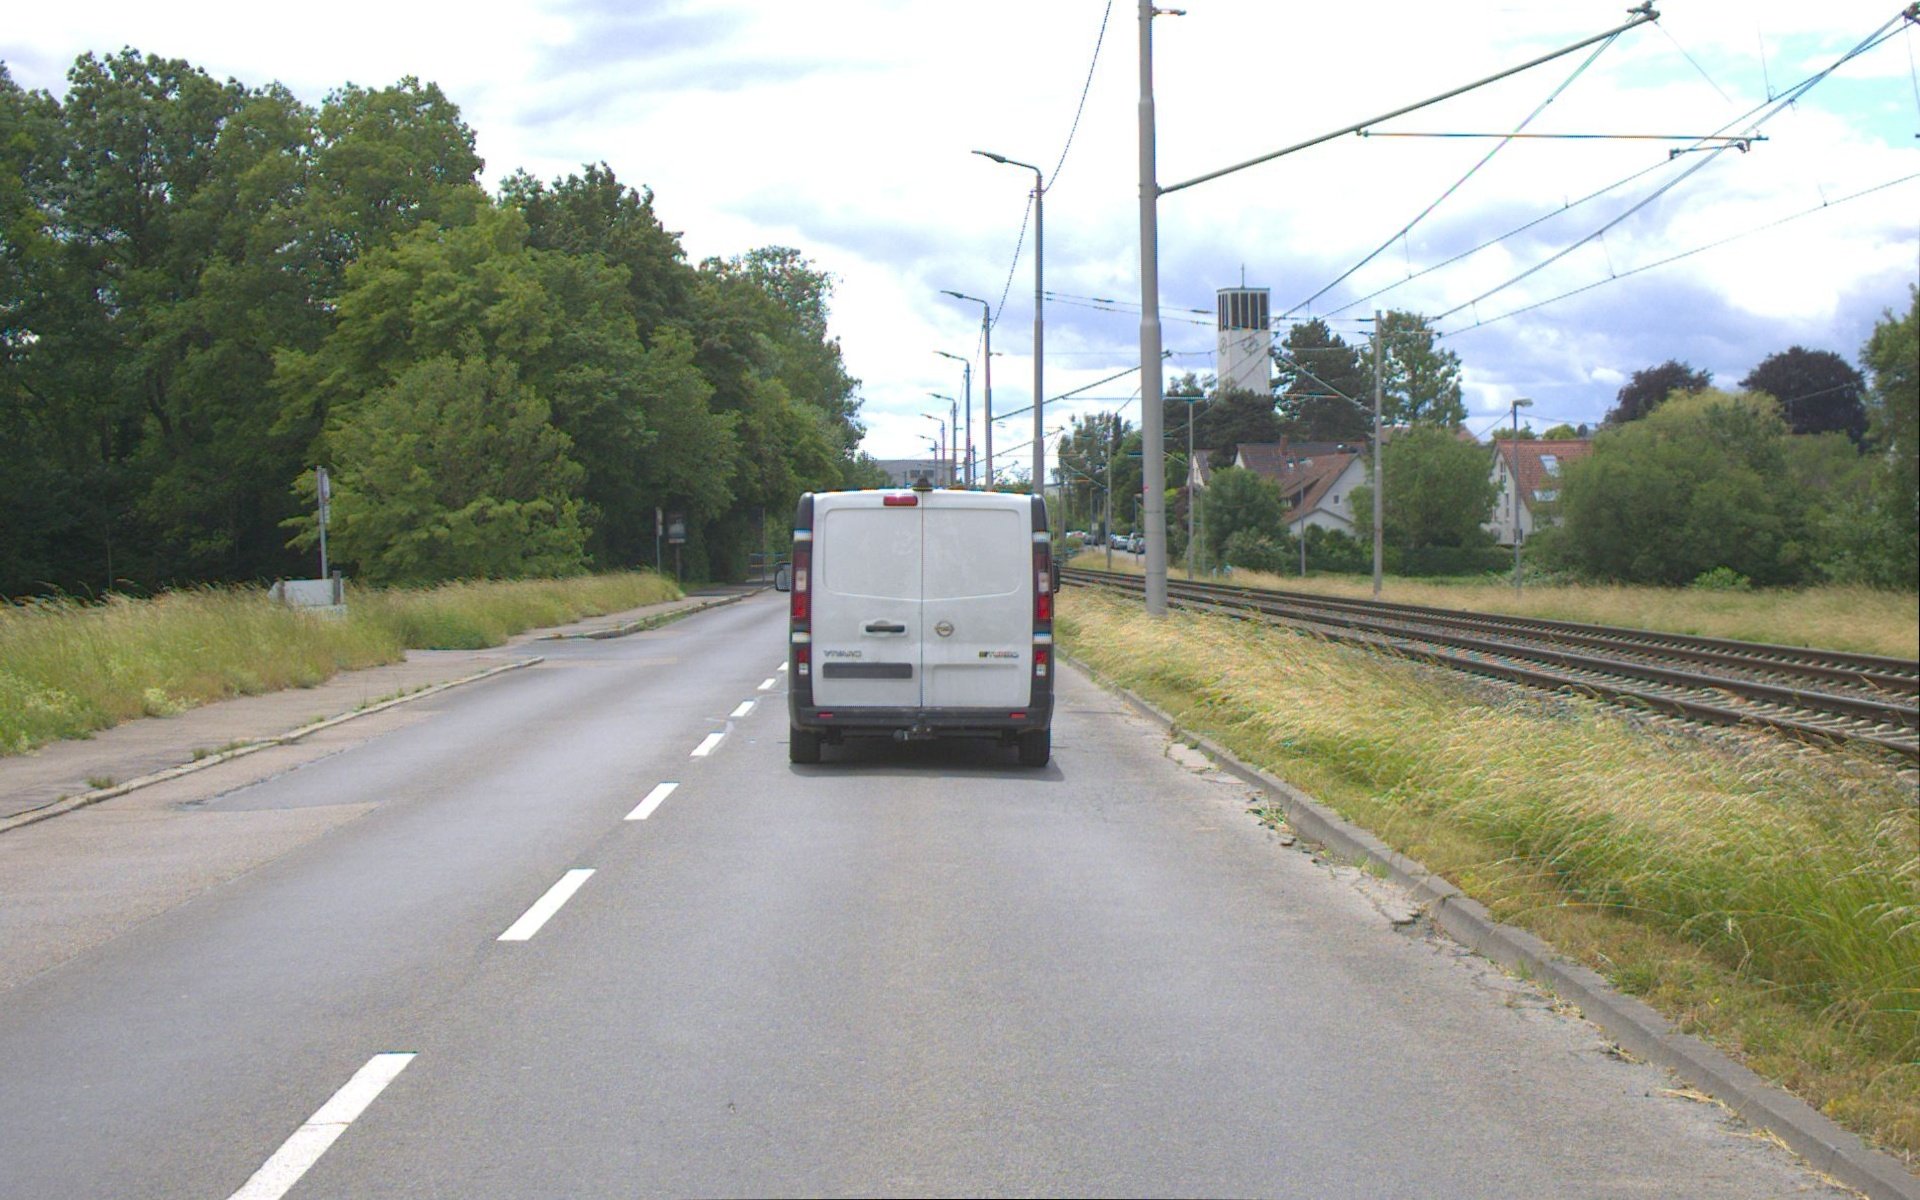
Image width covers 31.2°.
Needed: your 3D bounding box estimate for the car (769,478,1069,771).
[{"bbox_3d":[-0.347,0.147,25.222,1.993,1.950,4.000,1,1,-2],"label":"car"}]
